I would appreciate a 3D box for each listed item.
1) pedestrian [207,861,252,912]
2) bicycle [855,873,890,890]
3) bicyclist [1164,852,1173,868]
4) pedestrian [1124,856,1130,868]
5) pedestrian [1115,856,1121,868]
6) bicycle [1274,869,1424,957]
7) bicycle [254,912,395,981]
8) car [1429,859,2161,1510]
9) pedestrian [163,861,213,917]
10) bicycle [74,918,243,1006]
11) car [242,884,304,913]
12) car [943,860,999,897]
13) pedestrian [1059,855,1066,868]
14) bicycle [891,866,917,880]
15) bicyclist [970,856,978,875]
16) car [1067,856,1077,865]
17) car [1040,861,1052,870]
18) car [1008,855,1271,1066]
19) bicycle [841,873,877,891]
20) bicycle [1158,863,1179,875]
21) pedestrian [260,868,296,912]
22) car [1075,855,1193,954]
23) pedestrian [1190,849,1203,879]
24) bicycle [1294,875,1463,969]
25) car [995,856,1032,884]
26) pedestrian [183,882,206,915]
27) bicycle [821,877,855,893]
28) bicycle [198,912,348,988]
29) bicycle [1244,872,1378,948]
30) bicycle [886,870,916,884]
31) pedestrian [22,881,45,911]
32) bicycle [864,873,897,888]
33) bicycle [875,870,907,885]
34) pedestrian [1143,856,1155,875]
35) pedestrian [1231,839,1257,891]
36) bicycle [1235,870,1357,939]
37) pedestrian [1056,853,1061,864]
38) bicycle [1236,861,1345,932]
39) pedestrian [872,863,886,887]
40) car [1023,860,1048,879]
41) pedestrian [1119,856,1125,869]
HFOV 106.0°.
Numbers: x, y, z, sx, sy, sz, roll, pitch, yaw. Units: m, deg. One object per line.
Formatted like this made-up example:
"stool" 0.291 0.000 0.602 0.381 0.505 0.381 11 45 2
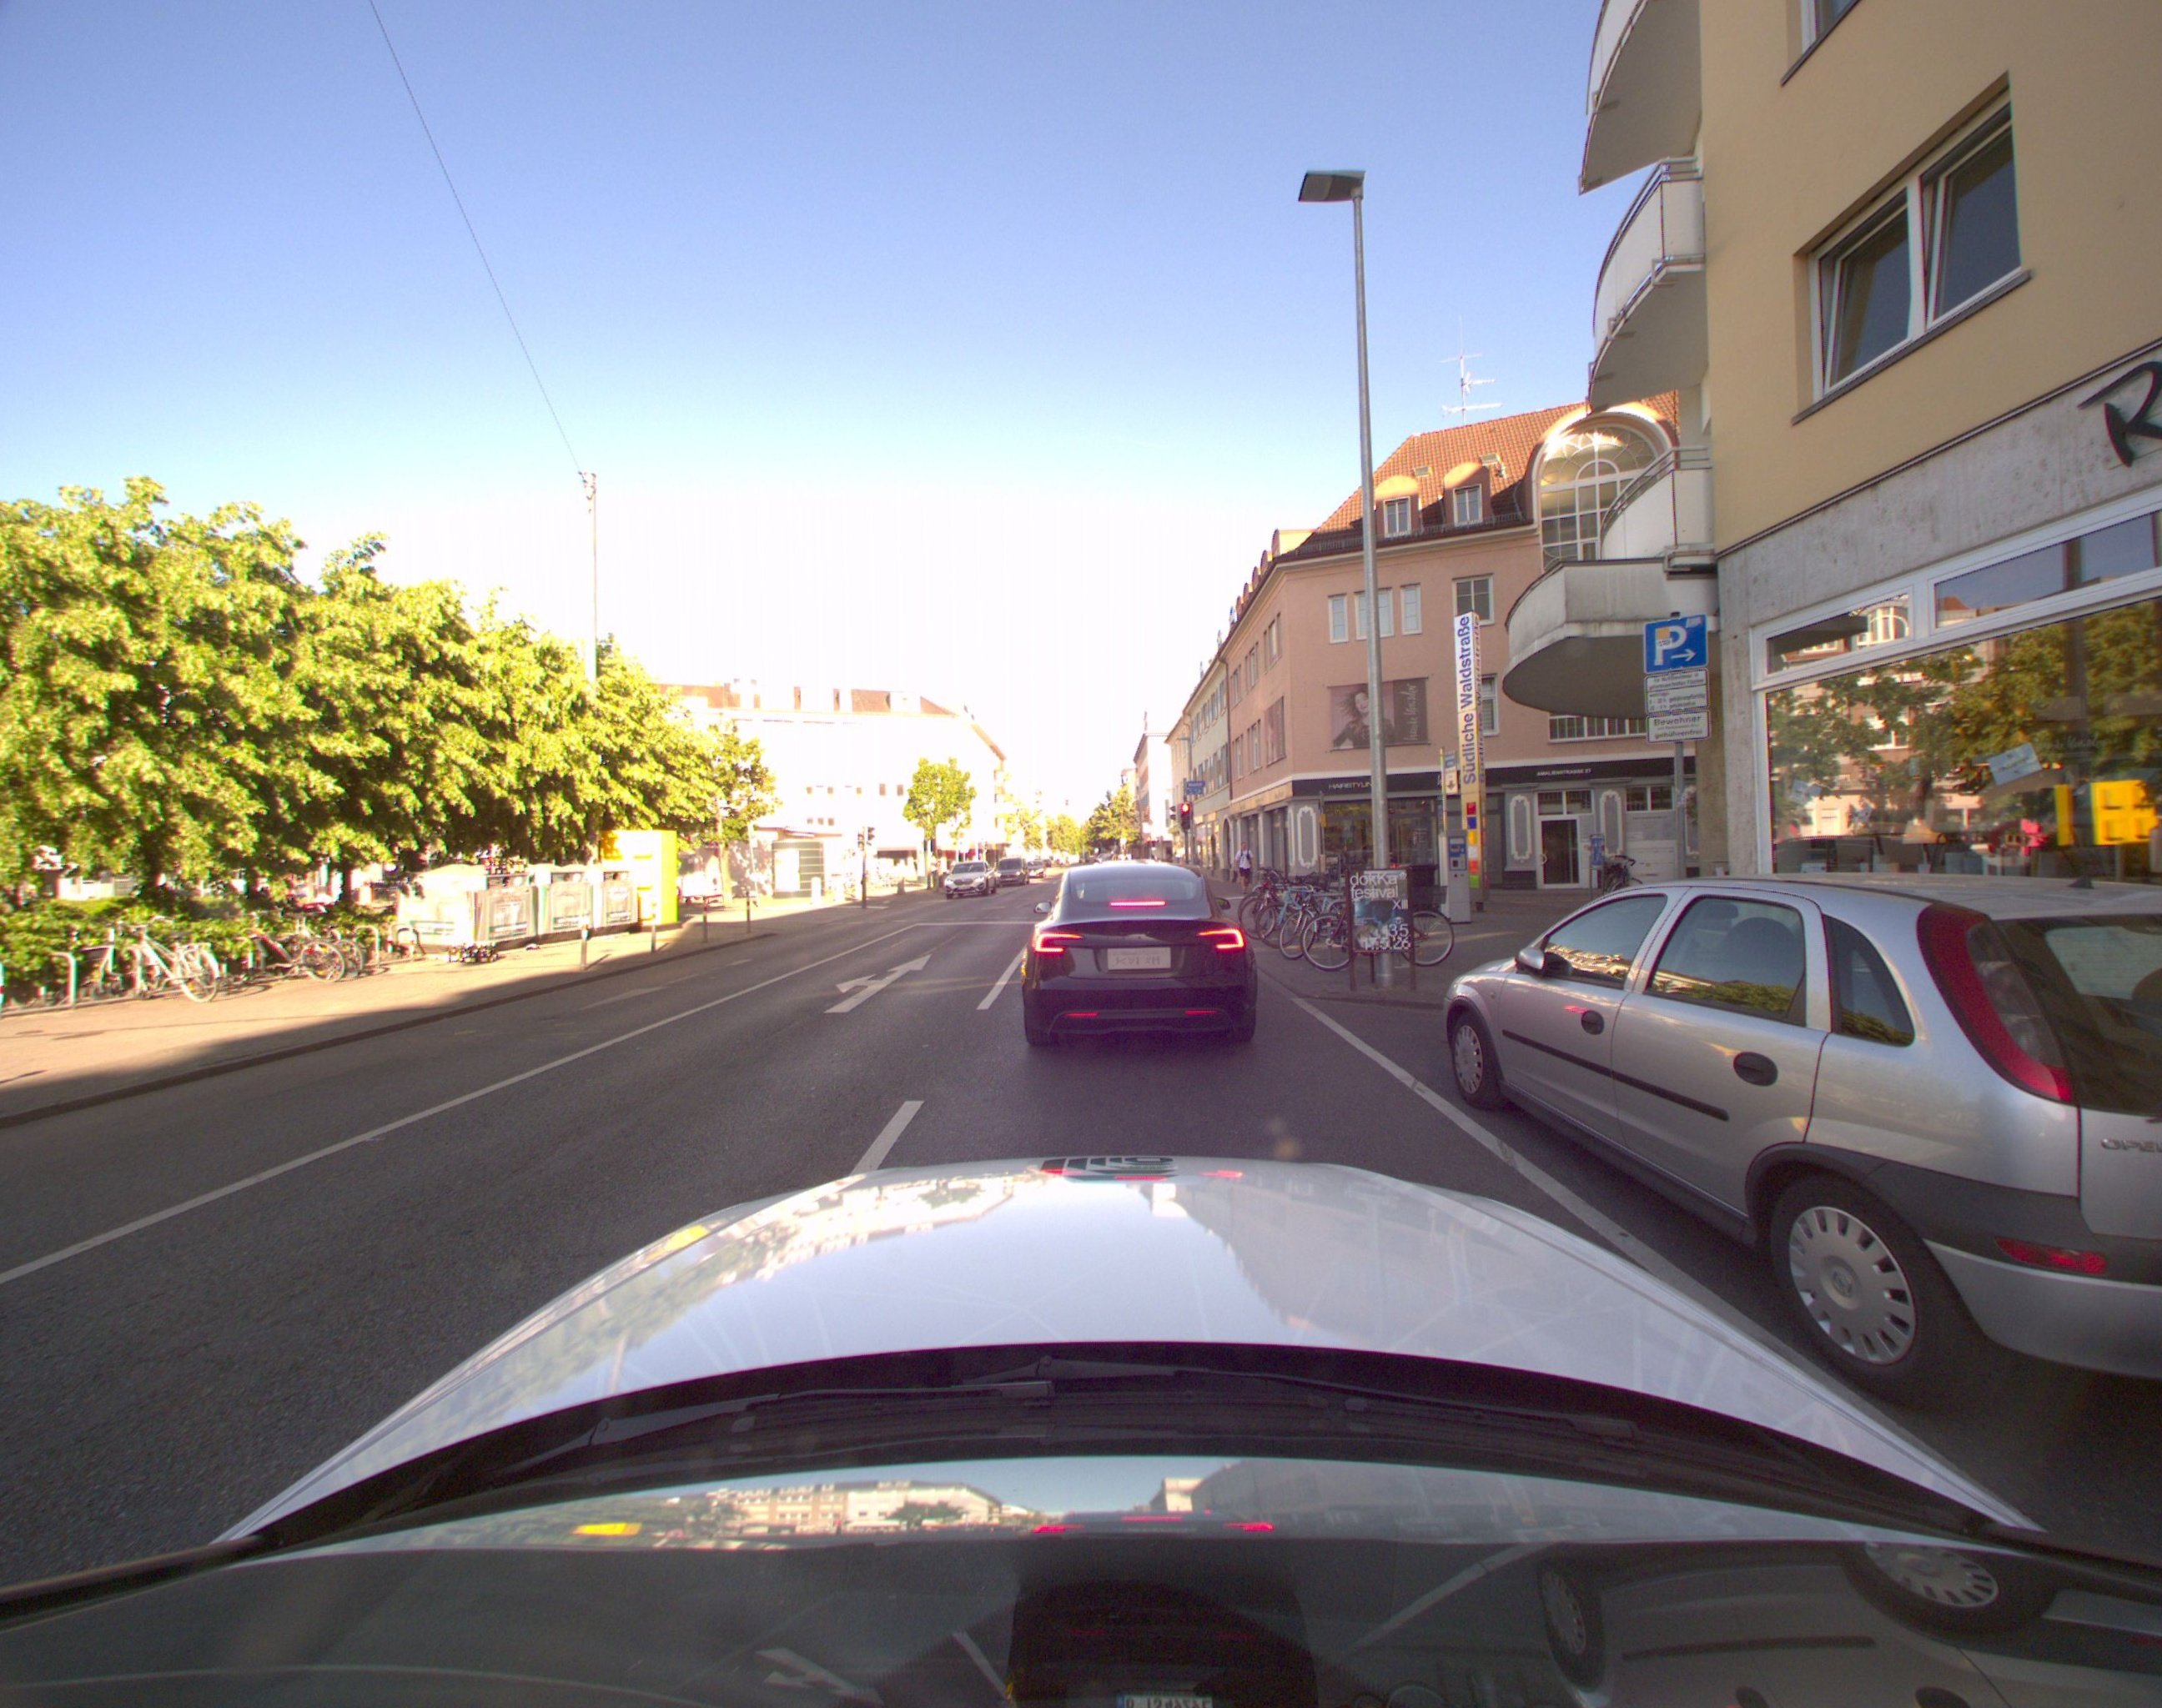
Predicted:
"pedestrian" -33.821 1.280 32.371 0.890 2.013 0.893 -1 0 15
"bicycle" -12.234 1.616 47.783 1.857 0.934 0.606 0 -1 0
"bicyclist" 7.644 0.509 71.319 0.670 1.395 0.460 0 -1 -14
"pedestrian" 5.438 0.930 95.604 0.524 1.422 0.475 0 -1 -28
"pedestrian" 4.356 0.888 95.515 0.474 1.417 0.517 0 -1 -29
"bicycle" 3.651 0.803 11.182 1.864 1.087 0.415 -3 -1 5
"bicycle" -11.321 1.372 12.190 1.888 0.955 0.518 -1 -1 11
"car" 2.953 0.734 3.502 1.540 1.390 3.479 -1 -1 3
"pedestrian" -33.012 1.295 30.117 0.890 2.013 0.893 -1 0 15
"bicycle" -11.623 1.340 10.266 1.919 1.015 0.518 -1 -1 12
"car" -41.702 2.269 41.993 3.526 1.386 1.703 -1 0 36
"car" -4.865 1.045 36.386 1.782 1.460 3.759 -4 -1 2
"pedestrian" -2.516 1.030 111.629 0.842 1.695 0.721 -1 0 15
"bicycle" -17.076 1.818 78.479 2.373 1.296 0.509 0 -1 -25
"bicyclist" -8.745 0.958 66.454 0.525 1.503 0.473 0 -1 -22
"car" -2.097 1.417 187.421 1.986 2.013 4.001 -1 0 2
"car" -6.254 1.989 146.457 1.699 1.552 3.699 -1 0 2
"car" 0.473 0.760 7.707 1.815 1.442 4.001 -1 -1 2
"bicycle" -12.421 1.558 45.641 1.857 0.934 0.606 -1 0 0
"bicycle" 7.686 1.291 71.309 1.787 1.007 0.469 0 -1 -15
"pedestrian" -31.715 1.409 32.176 0.754 1.698 0.793 -1 0 25
"car" 0.795 0.746 13.926 1.712 1.425 3.757 -1 0 0
"pedestrian" 6.745 0.563 47.543 0.704 1.742 0.540 -1 0 1
"bicycle" 3.626 0.835 10.020 1.862 1.038 0.354 -3 -1 8
"car" -4.184 0.963 50.988 1.780 1.646 4.404 -1 0 2
"pedestrian" -48.824 2.443 44.860 0.842 1.717 0.761 -2 -1 35
"bicycle" -12.836 1.633 43.069 1.640 0.792 0.606 0 -1 -3
"bicycle" -11.528 1.350 11.630 1.913 1.003 0.518 -1 -1 11
"bicycle" 3.492 0.849 12.486 1.864 1.038 0.534 -3 -1 5
"bicycle" -12.185 1.545 55.062 1.857 0.934 0.606 -1 0 0
"pedestrian" -77.807 3.121 60.485 0.891 2.171 0.882 -1 -1 26
"bicycle" -12.358 1.637 50.261 1.857 0.934 0.606 0 -1 0
"bicycle" -12.265 1.526 52.614 1.857 0.934 0.606 -1 0 0
"pedestrian" 5.830 0.958 69.551 0.756 1.631 0.951 0 -1 -16
"pedestrian" 5.770 0.399 28.843 0.747 1.765 0.838 -3 -1 6
"bicycle" 3.581 0.838 13.659 1.863 1.038 0.548 -3 -1 7
"pedestrian" -4.195 0.883 150.950 0.916 2.013 0.933 -1 0 1
"bicycle" 3.777 0.757 14.776 1.818 1.169 0.507 -3 -1 7
"pedestrian" -17.574 1.806 70.896 1.060 2.014 1.049 0 -1 -18
"car" -3.636 1.227 65.518 1.709 1.446 3.846 0 -1 2
"pedestrian" 4.784 0.977 94.805 0.524 1.422 0.475 0 -1 -28
